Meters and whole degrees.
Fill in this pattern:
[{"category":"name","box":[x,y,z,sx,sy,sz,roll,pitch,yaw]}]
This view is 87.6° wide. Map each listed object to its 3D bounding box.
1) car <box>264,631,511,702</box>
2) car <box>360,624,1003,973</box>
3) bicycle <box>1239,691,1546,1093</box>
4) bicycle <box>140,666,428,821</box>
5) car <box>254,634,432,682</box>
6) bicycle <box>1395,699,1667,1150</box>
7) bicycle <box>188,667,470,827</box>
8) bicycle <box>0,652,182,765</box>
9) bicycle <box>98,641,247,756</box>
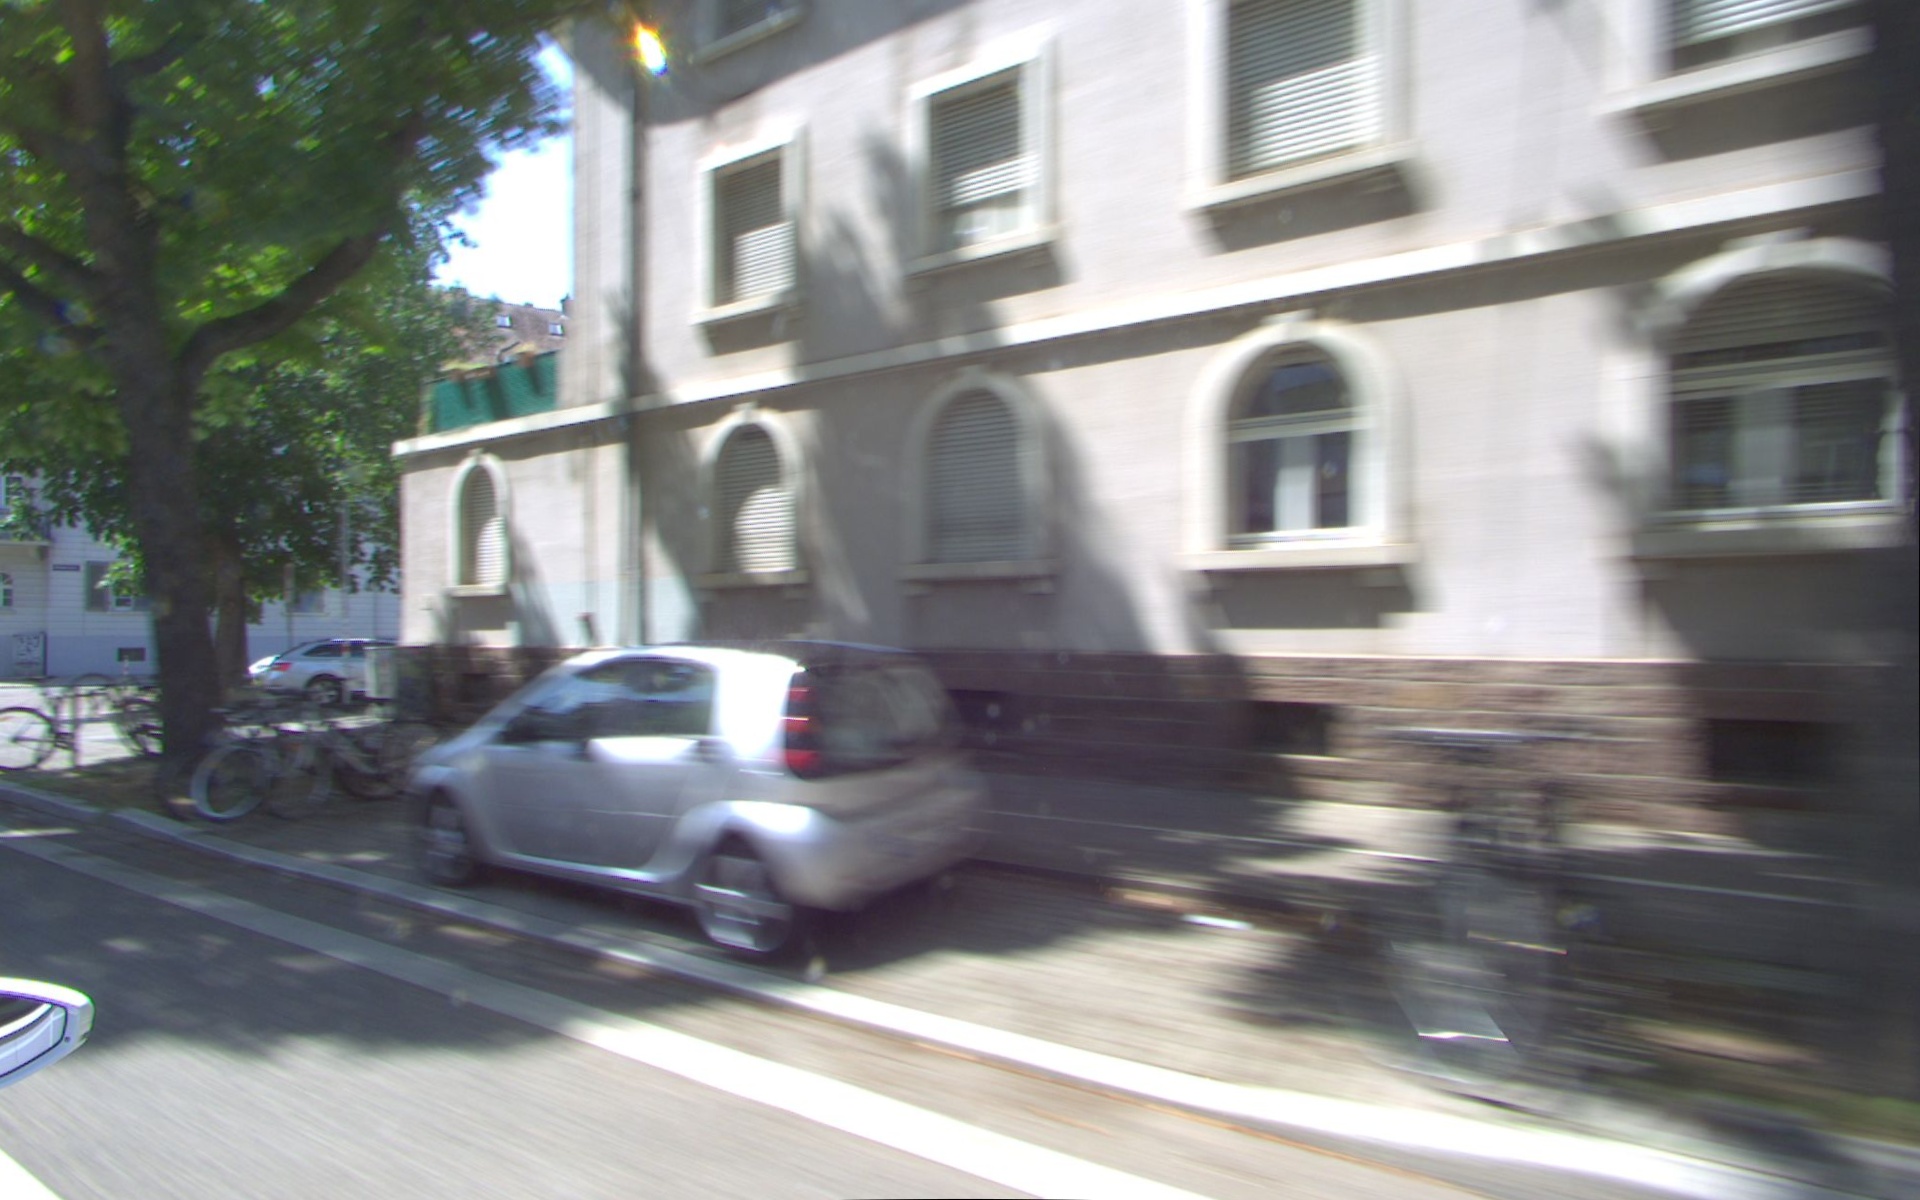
[{"category":"car","box":[-12.698,1.450,22.475,4.631,1.455,1.729,2,-2,-31]},{"category":"car","box":[-1.776,0.927,6.033,3.756,1.467,1.618,-2,0,32]},{"category":"bicycle","box":[1.764,0.938,3.882,0.591,1.076,1.956,-1,-2,39]},{"category":"bicycle","box":[-5.834,1.179,8.774,0.631,1.127,2.005,-2,-2,34]},{"category":"car","box":[-19.264,1.802,31.483,4.631,1.407,1.729,2,-2,-31]},{"category":"bicycle","box":[2.079,0.932,3.513,0.532,1.065,1.882,-1,-2,39]},{"category":"bicycle","box":[-5.276,1.171,8.513,0.590,1.127,1.958,-2,-2,34]},{"category":"bicycle","box":[-9.774,1.162,11.062,0.486,1.127,1.813,-2,-2,31]},{"category":"bicycle","box":[-9.122,1.111,11.580,1.976,1.246,0.580,-2,-1,27]}]
